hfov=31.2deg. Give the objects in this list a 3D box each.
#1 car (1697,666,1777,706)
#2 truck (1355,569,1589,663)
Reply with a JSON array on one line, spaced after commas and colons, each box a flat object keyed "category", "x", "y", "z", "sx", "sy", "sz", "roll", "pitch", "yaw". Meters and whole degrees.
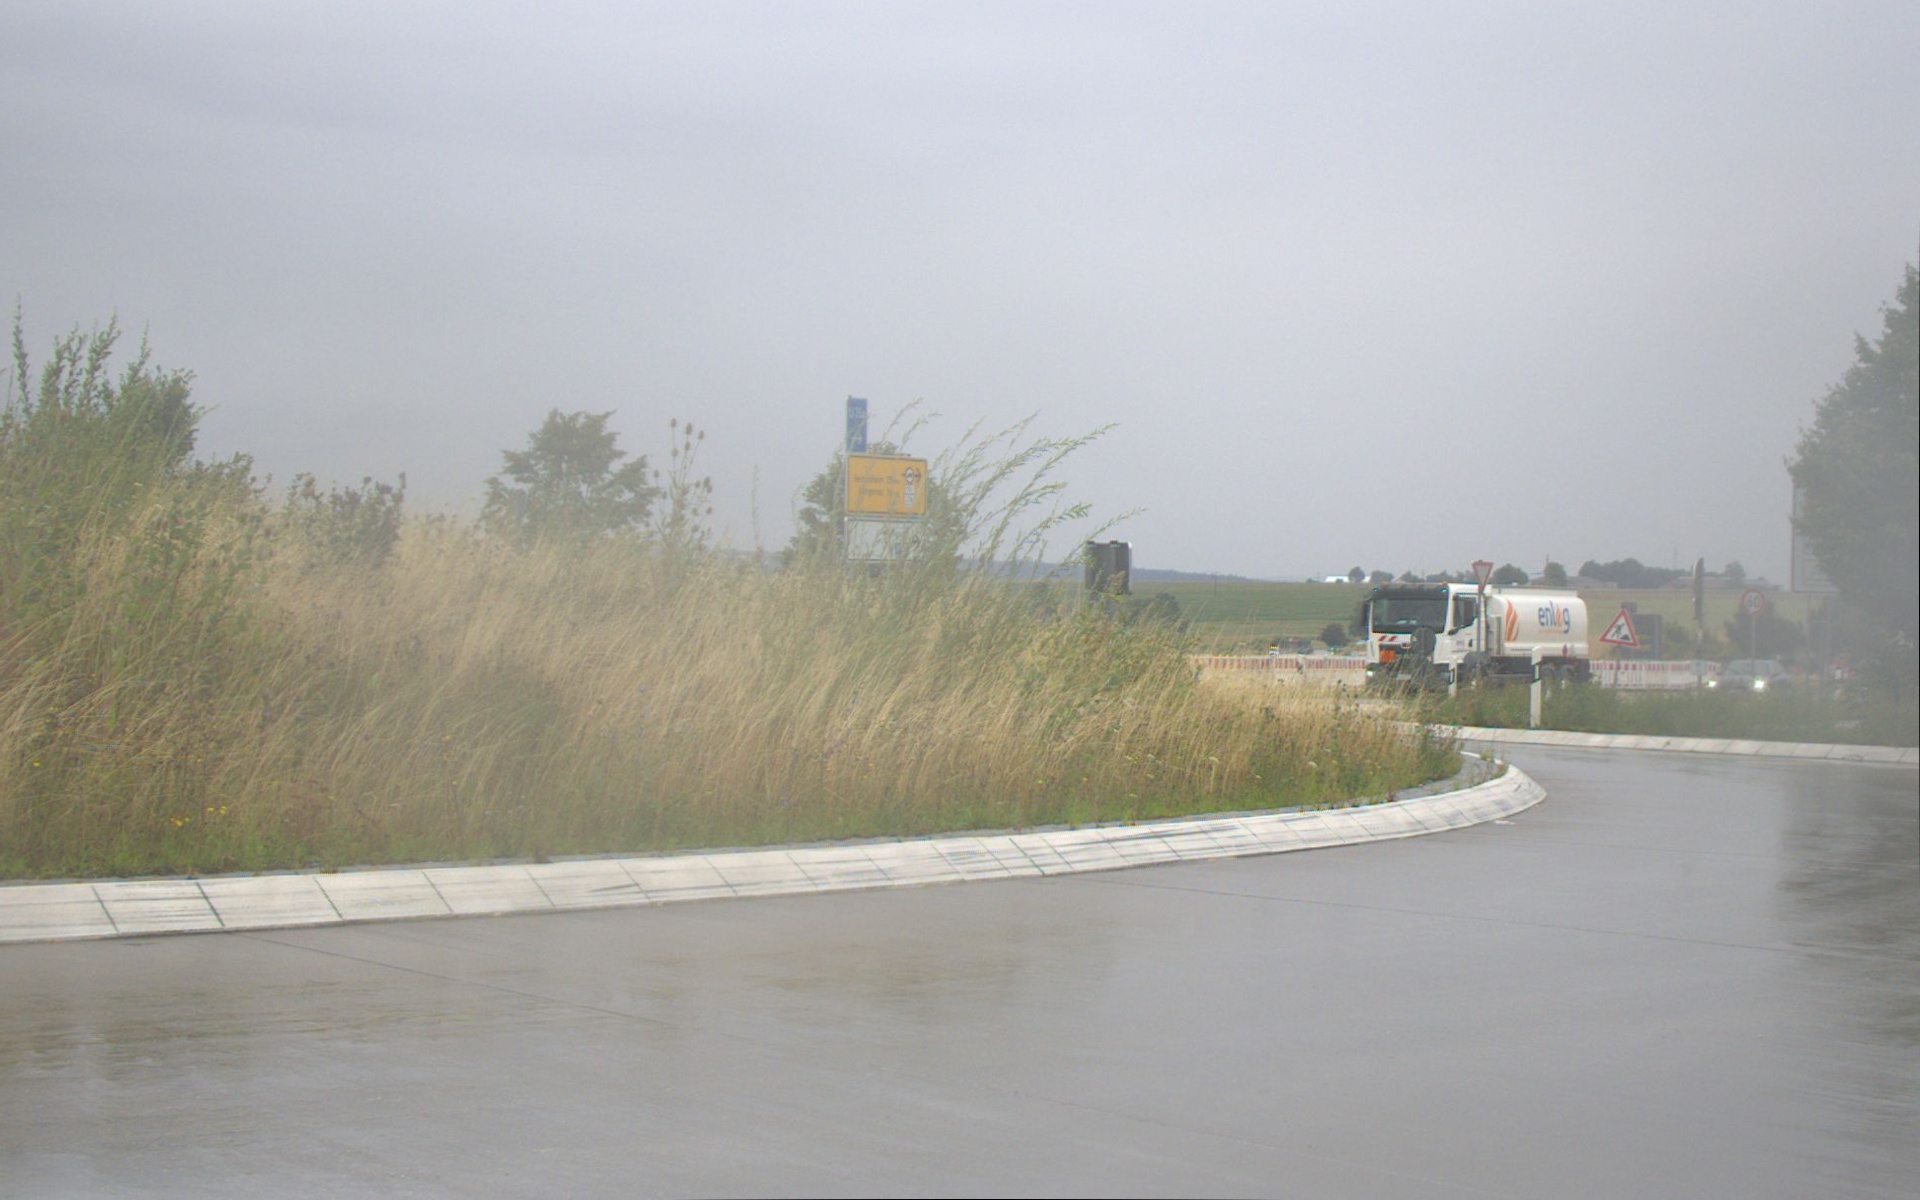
[{"category": "car", "x": 24.098, "y": 2.668, "z": 106.586, "sx": 1.532, "sy": 1.207, "sz": 3.607, "roll": 0, "pitch": -1, "yaw": 28}, {"category": "truck", "x": 12.789, "y": 0.412, "z": 85.251, "sx": 2.516, "sy": 2.215, "sz": 8.395, "roll": -1, "pitch": 0, "yaw": 33}]
